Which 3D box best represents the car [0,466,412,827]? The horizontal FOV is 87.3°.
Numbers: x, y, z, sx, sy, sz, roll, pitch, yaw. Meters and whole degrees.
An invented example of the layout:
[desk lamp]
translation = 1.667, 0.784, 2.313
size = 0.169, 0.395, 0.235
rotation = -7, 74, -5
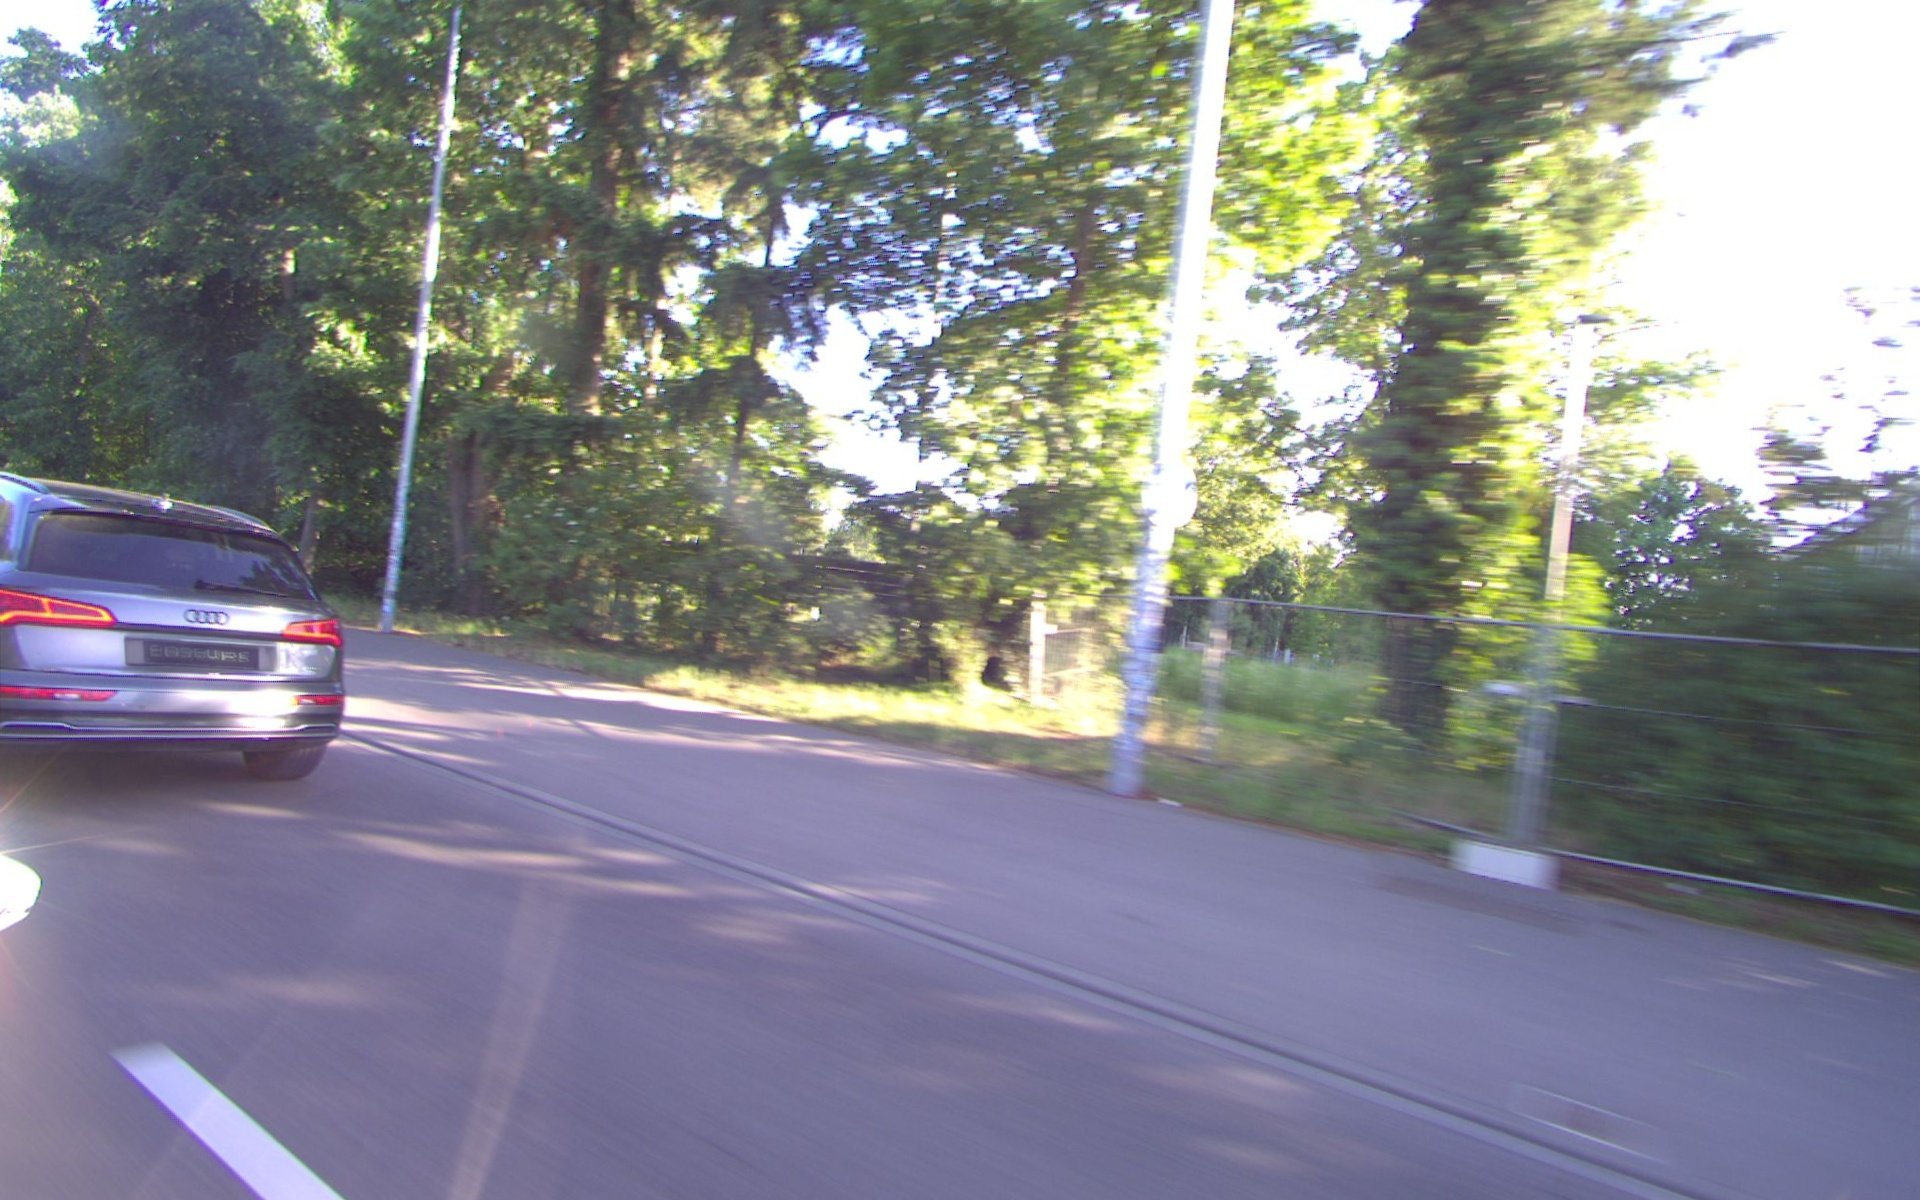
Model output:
[car]
translation = -5.731, 0.087, 6.446
size = 4.471, 1.624, 1.896
rotation = 7, -2, 34
